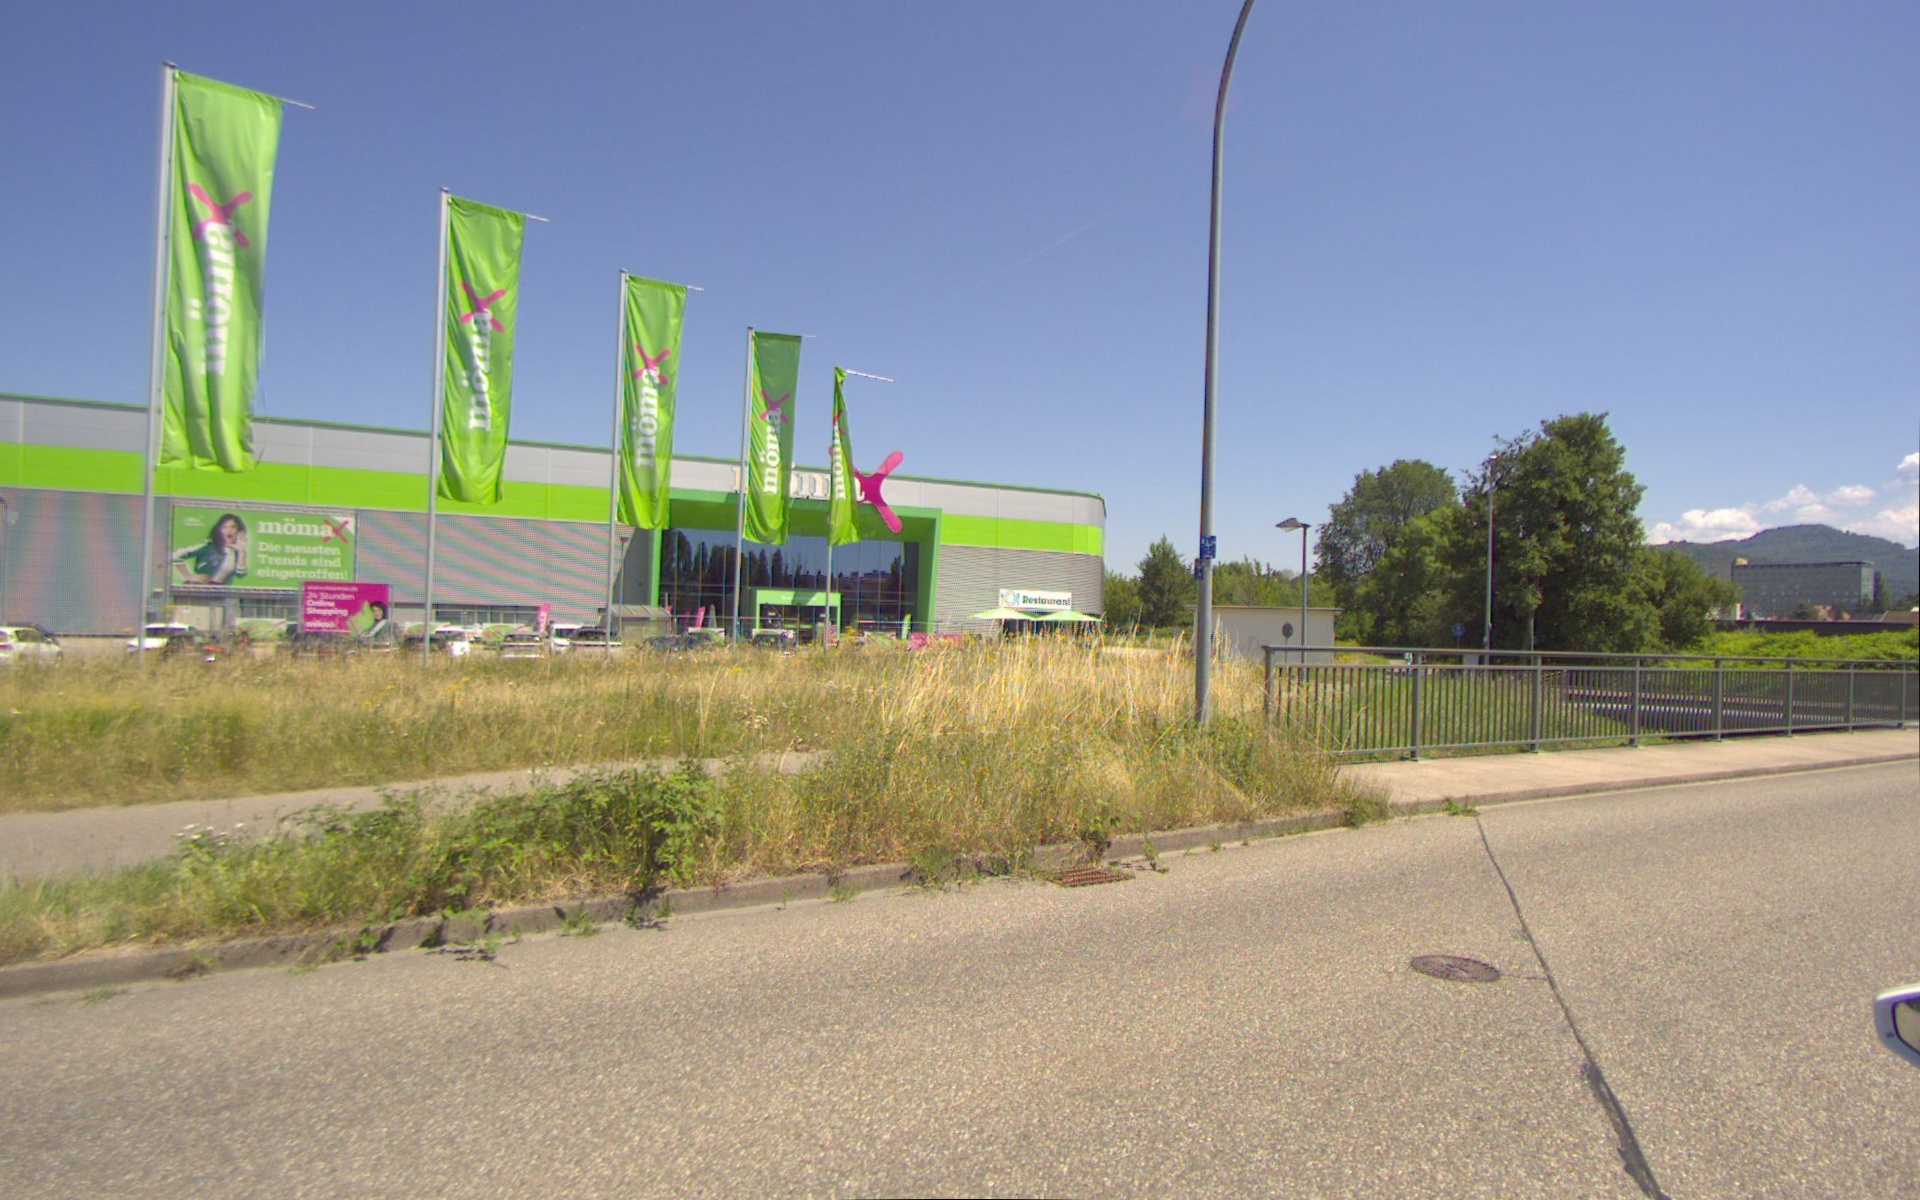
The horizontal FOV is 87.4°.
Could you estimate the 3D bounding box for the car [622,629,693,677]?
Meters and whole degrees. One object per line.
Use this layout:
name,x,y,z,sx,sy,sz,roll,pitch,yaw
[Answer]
car,-11.844,2.047,39.219,1.974,1.533,3.972,2,1,-26

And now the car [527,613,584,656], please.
car,-17.628,1.473,43.692,1.974,1.533,3.972,2,1,-26

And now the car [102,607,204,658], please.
car,-28.826,1.125,36.012,1.974,1.533,3.972,2,1,-26

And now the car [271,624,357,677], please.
car,-21.743,1.665,33.961,1.974,1.449,3.972,2,1,-26

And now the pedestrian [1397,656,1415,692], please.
pedestrian,21.602,3.575,48.657,0.507,1.696,0.626,5,0,38

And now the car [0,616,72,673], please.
car,-29.339,1.340,31.035,1.822,1.456,3.972,2,1,-26

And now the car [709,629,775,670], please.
car,-9.950,2.223,45.576,1.974,1.533,3.972,2,1,-26

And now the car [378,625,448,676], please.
car,-19.369,1.769,35.680,1.974,1.463,3.972,2,1,-26

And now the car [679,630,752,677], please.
car,-9.813,2.118,40.172,1.974,1.533,3.972,2,1,-26

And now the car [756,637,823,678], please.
car,-7.987,2.662,46.802,1.974,1.533,3.972,2,1,-26

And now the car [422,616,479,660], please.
car,-21.290,1.560,42.042,1.974,1.533,3.972,2,1,-26

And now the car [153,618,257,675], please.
car,-24.713,1.497,33.027,1.974,1.533,3.972,2,1,-26

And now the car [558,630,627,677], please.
car,-13.974,2.012,38.080,1.974,1.435,3.972,2,1,-26

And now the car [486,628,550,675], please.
car,-16.507,1.888,37.393,1.974,1.428,3.972,2,1,-26

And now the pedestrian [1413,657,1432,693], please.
pedestrian,22.349,3.616,48.557,0.619,1.696,0.596,5,0,39
